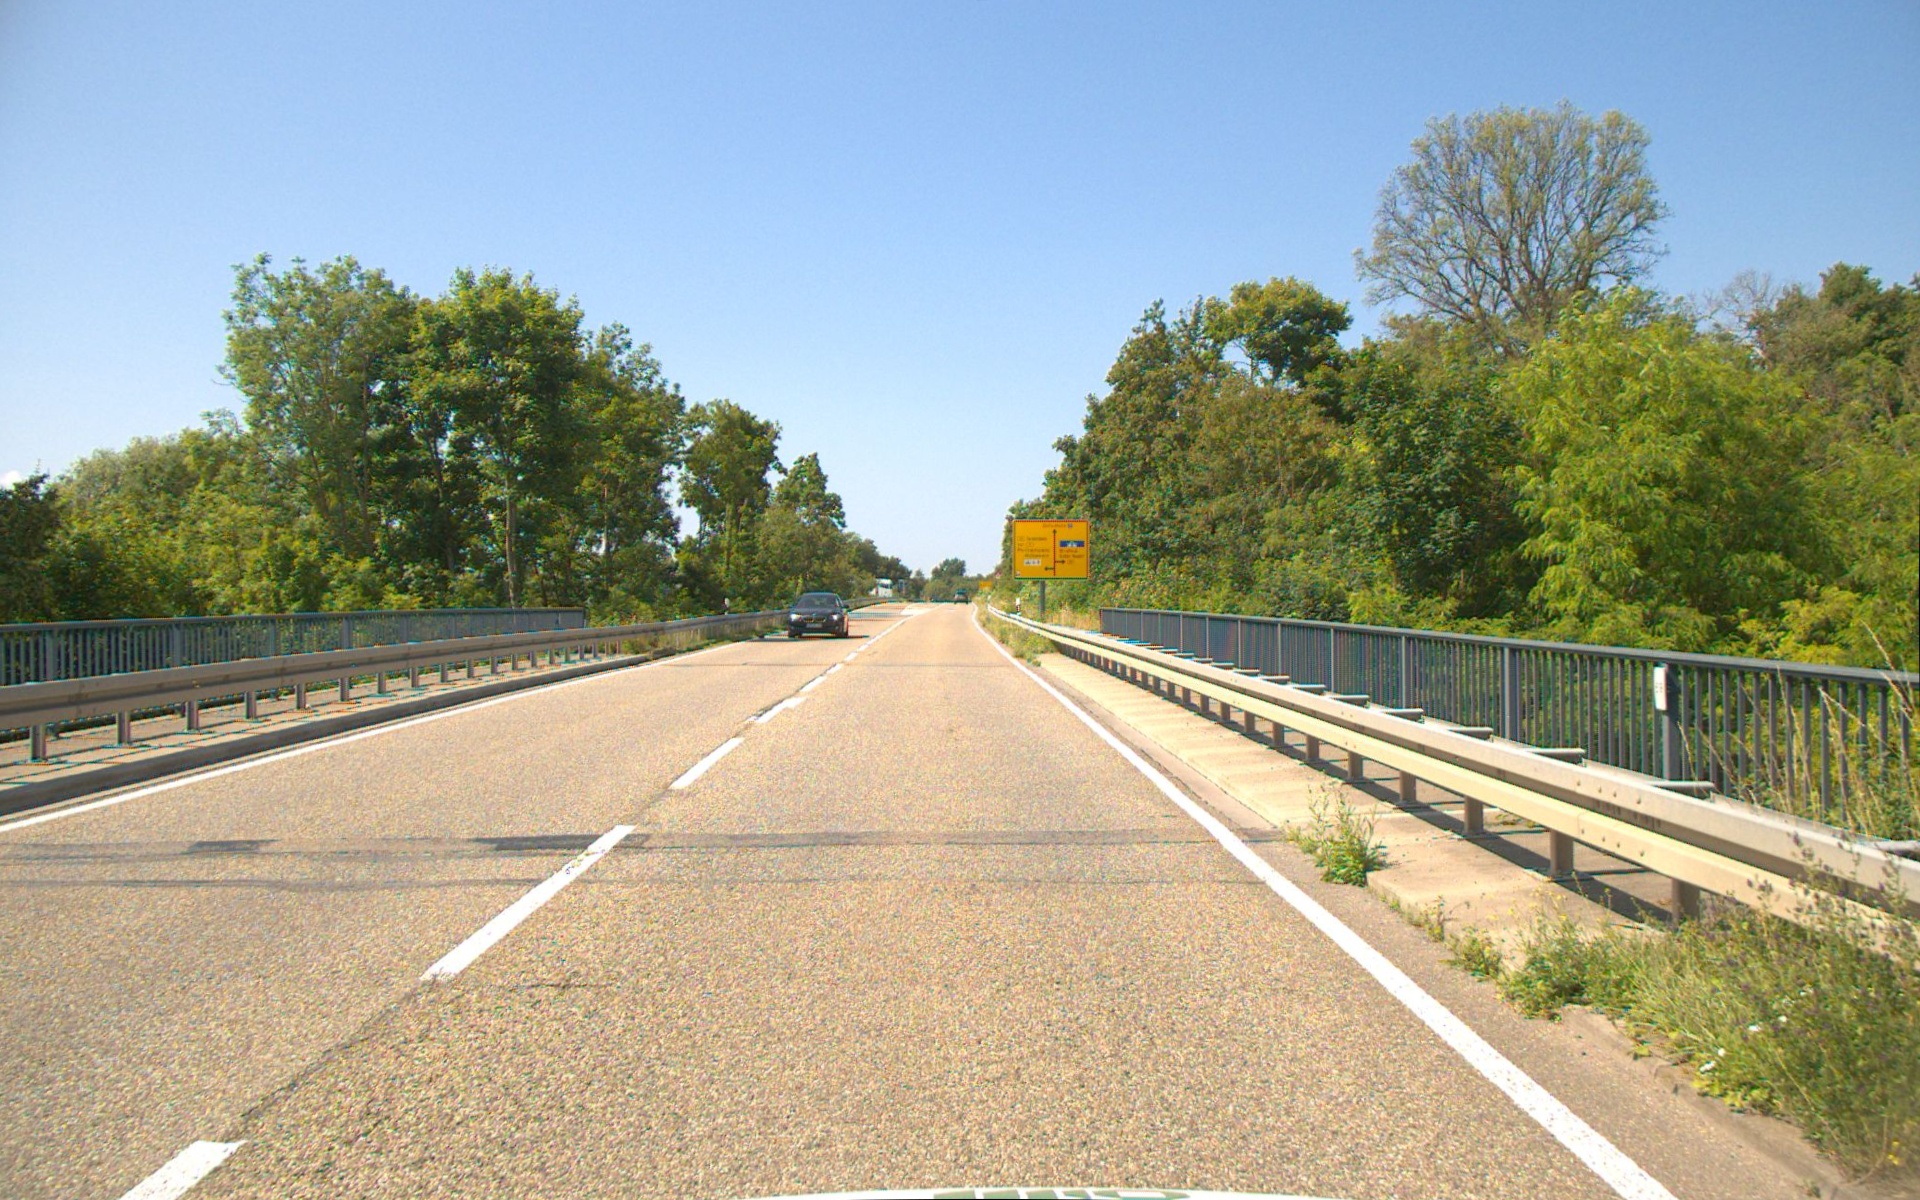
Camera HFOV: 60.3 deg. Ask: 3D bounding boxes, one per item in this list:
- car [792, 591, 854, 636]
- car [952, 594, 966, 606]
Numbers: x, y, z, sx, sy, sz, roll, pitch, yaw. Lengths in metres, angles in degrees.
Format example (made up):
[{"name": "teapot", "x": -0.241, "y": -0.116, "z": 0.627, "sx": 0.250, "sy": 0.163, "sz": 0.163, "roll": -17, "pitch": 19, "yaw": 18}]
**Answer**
[{"name": "car", "x": -4.556, "y": 0.439, "z": 55.521, "sx": 1.710, "sy": 1.450, "sz": 4.676, "roll": 0, "pitch": 0, "yaw": -1}, {"name": "car", "x": -0.155, "y": -0.002, "z": 201.961, "sx": 1.705, "sy": 1.496, "sz": 3.692, "roll": 0, "pitch": 0, "yaw": 0}]
